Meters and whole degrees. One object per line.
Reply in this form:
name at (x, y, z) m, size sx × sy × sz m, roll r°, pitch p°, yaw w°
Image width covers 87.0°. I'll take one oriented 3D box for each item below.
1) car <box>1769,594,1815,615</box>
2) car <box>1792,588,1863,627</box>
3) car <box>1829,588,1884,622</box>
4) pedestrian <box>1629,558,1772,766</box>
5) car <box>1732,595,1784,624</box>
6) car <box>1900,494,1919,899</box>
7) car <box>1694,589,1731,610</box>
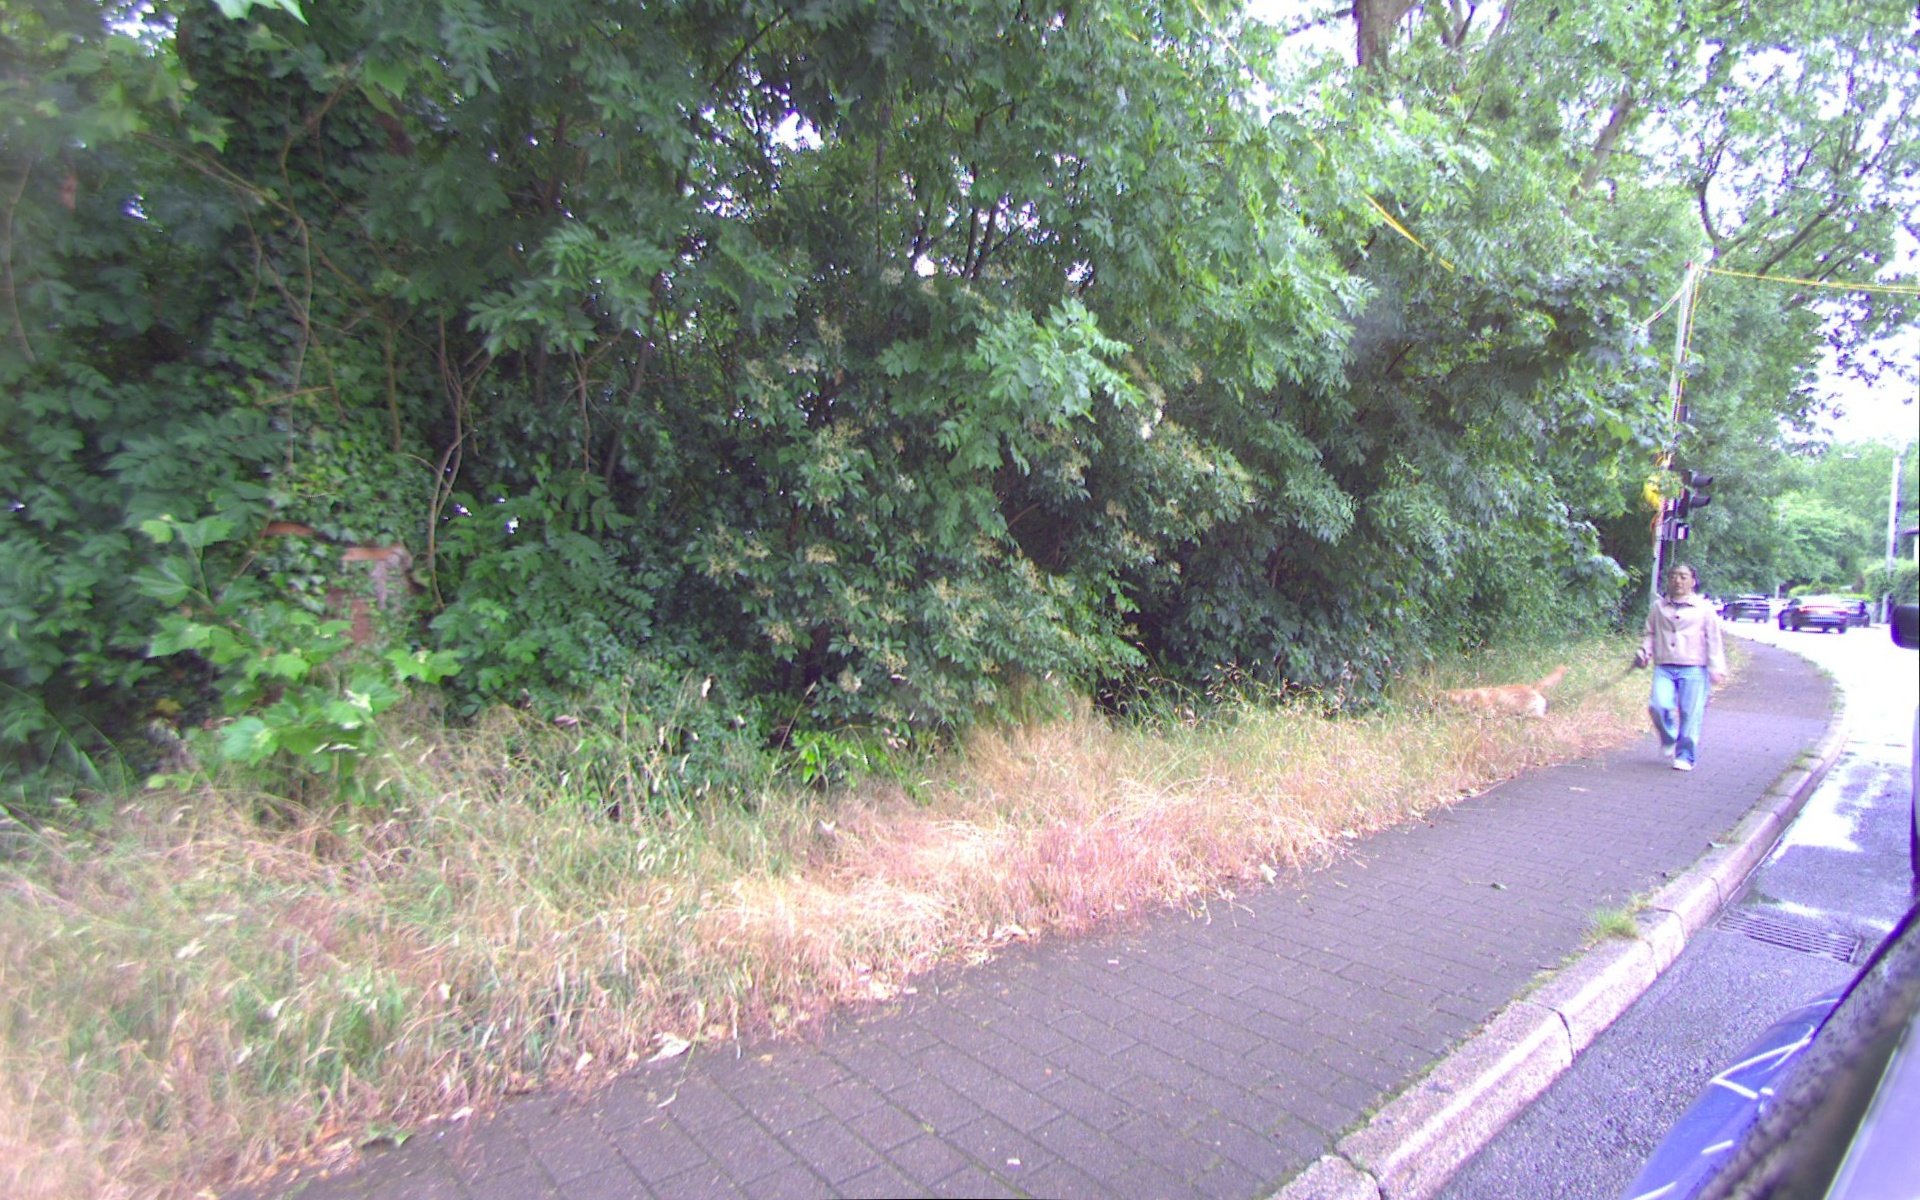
car at (60.754, 0.295, 73.926) m, size 2.055 × 1.504 × 4.509 m, roll 1°, pitch 1°, yaw 33°
car at (39.695, 0.334, 46.426) m, size 1.987 × 1.695 × 4.629 m, roll 0°, pitch 0°, yaw 35°
car at (51.067, 0.280, 57.714) m, size 1.869 × 1.848 × 4.075 m, roll 1°, pitch 1°, yaw 35°
pedestrian at (5.798, 0.440, 7.927) m, size 0.771 × 1.518 × 0.734 m, roll 0°, pitch 1°, yaw -42°
car at (47.642, 0.545, 60.484) m, size 1.857 × 1.642 × 4.120 m, roll 0°, pitch 0°, yaw 30°
car at (7.123, 0.469, 5.746) m, size 5.001 × 1.943 × 2.100 m, roll 0°, pitch 0°, yaw -41°
car at (57.220, -0.060, 76.991) m, size 1.845 × 1.547 × 4.764 m, roll 0°, pitch 0°, yaw 32°
